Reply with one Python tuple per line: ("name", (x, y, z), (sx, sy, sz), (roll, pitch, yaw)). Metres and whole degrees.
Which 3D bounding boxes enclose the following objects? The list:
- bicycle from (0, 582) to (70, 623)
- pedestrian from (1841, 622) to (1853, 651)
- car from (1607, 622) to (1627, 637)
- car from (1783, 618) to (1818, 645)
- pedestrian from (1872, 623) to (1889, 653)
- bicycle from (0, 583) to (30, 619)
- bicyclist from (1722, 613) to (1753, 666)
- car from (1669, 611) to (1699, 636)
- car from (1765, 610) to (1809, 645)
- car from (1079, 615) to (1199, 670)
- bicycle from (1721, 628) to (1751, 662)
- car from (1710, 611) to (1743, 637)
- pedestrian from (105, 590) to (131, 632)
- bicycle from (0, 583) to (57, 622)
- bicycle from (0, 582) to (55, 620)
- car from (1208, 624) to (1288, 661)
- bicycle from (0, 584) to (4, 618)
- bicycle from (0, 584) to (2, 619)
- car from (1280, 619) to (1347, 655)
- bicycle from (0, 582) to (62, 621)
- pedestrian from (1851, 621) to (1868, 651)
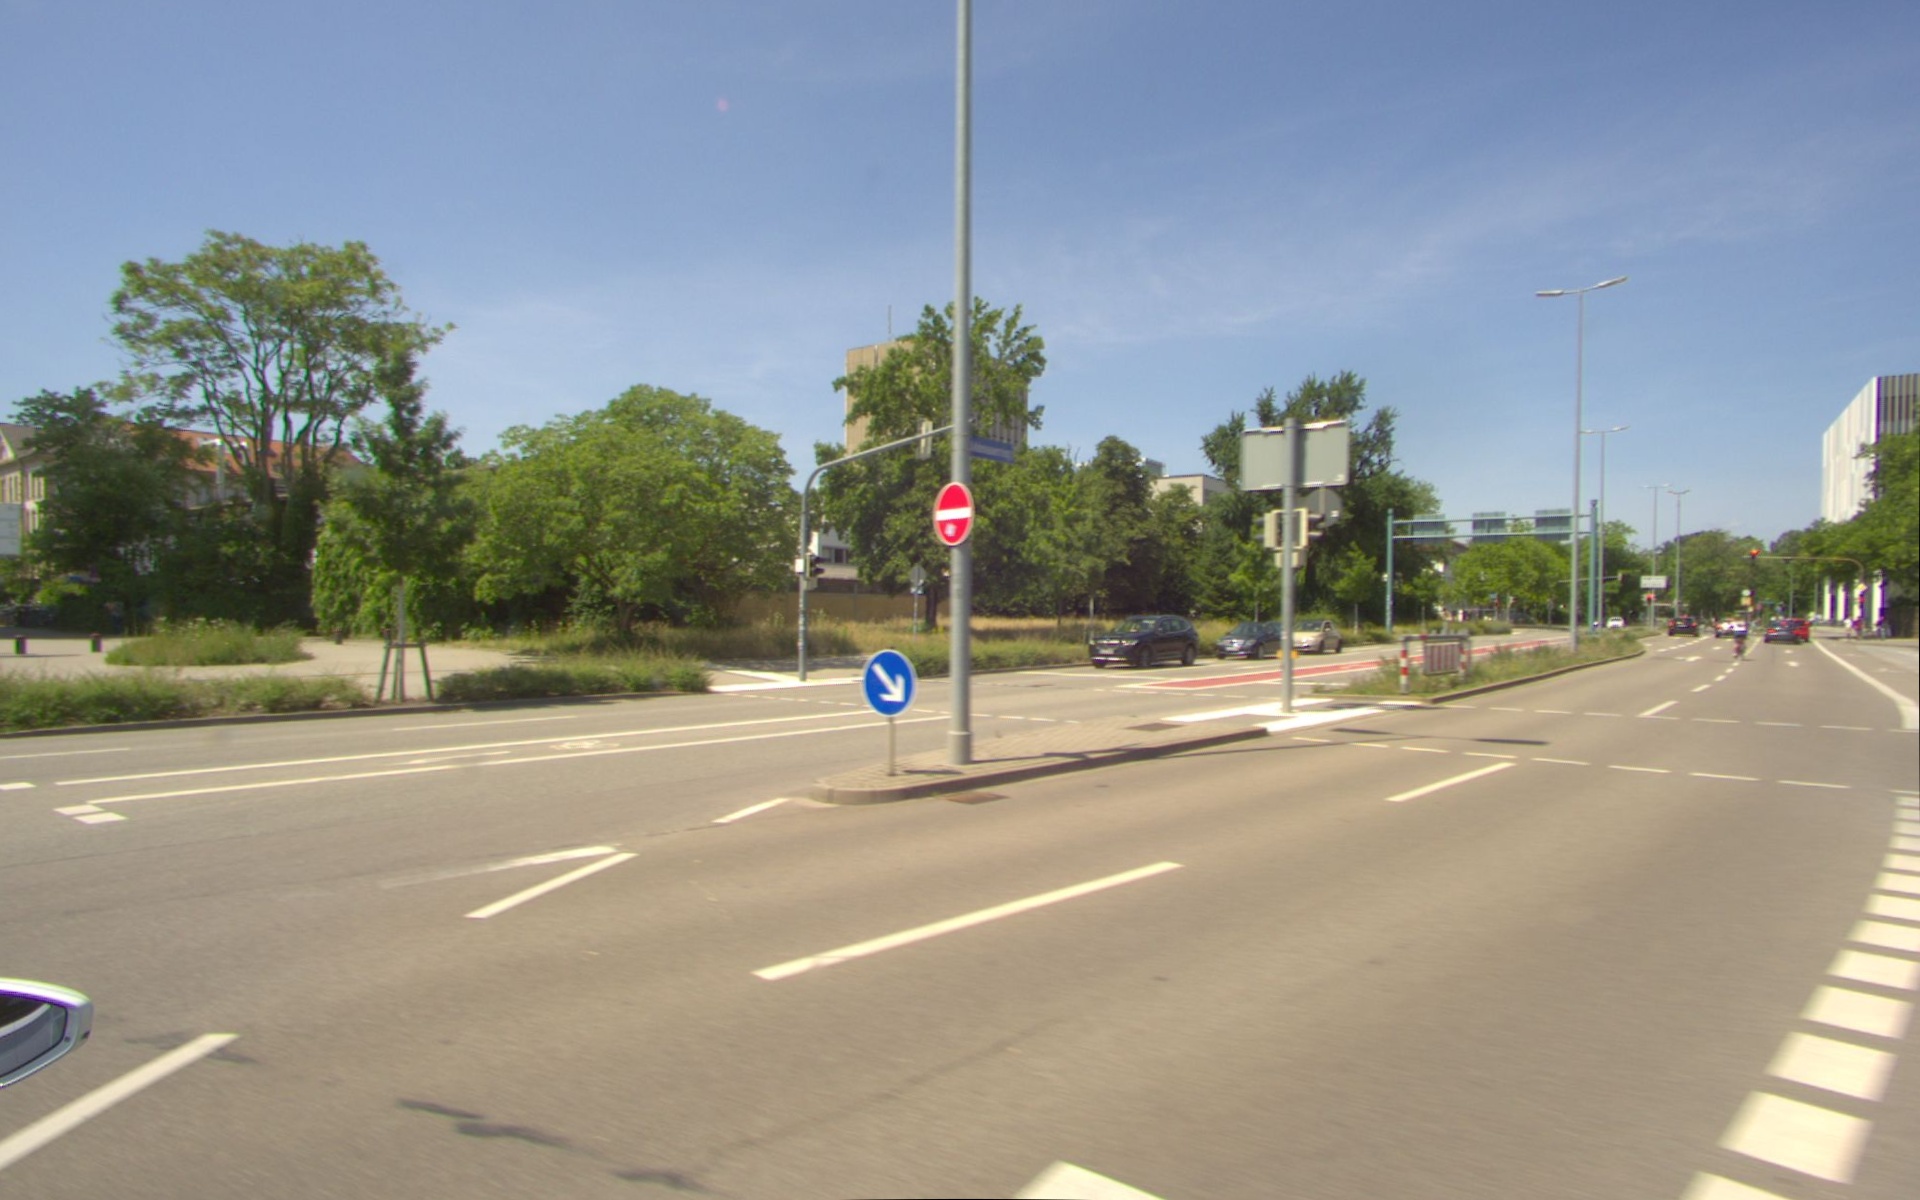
("bicycle", (-49.446, 0.148, 52.960), (0.751, 2.039, 3.436), (1, -2, 38))
("pedestrian", (62.215, 2.580, 70.256), (0.543, 2.039, 0.533), (1, -1, 38))
("car", (79.039, 3.591, 120.484), (1.714, 1.707, 3.891), (1, -2, 37))
("car", (57.021, 2.127, 67.990), (1.760, 1.705, 3.972), (1, -2, 40))
("pedestrian", (63.901, 2.612, 69.529), (0.779, 2.039, 0.835), (1, -1, 37))
("bicycle", (-56.309, 0.019, 58.024), (0.751, 2.039, 3.436), (1, -2, 38))
("bicyclist", (29.210, 1.485, 37.636), (0.698, 1.911, 1.135), (1, -1, 28))
("car", (53.428, 1.769, 73.927), (1.754, 1.689, 3.977), (1, -2, 35))
("car", (52.662, 1.768, 63.853), (1.975, 2.039, 4.187), (1, -2, 38))
("car", (5.836, 1.305, 32.263), (1.690, 1.607, 4.517), (0, 0, 42))
("bicycle", (29.247, 1.708, 37.751), (0.513, 1.252, 2.184), (1, -2, 29))
("car", (55.486, 1.739, 72.471), (1.760, 1.705, 3.972), (1, -2, 40))
("pedestrian", (-34.406, 0.454, 40.918), (0.697, 1.686, 0.637), (1, -1, 36))
("bicycle", (-52.854, 0.127, 55.915), (0.751, 2.039, 3.436), (1, -2, 38))
("bicycle", (-54.393, 0.050, 57.494), (0.751, 2.039, 3.436), (1, -2, 38))
("car", (11.255, 1.663, 39.004), (1.736, 1.326, 3.977), (1, -2, 36))
("bicycle", (-59.106, -0.014, 59.351), (0.751, 2.039, 3.436), (1, -2, 38))
("bicycle", (-58.446, -0.004, 58.525), (0.751, 2.039, 3.436), (1, -2, 38))
("car", (15.713, 1.649, 44.419), (1.736, 1.457, 3.977), (1, -2, 36))
("bicycle", (-51.345, 0.087, 54.554), (0.751, 2.039, 3.436), (1, -2, 38))
("pedestrian", (63.136, 2.537, 70.267), (0.779, 2.039, 0.958), (1, -1, 37))
